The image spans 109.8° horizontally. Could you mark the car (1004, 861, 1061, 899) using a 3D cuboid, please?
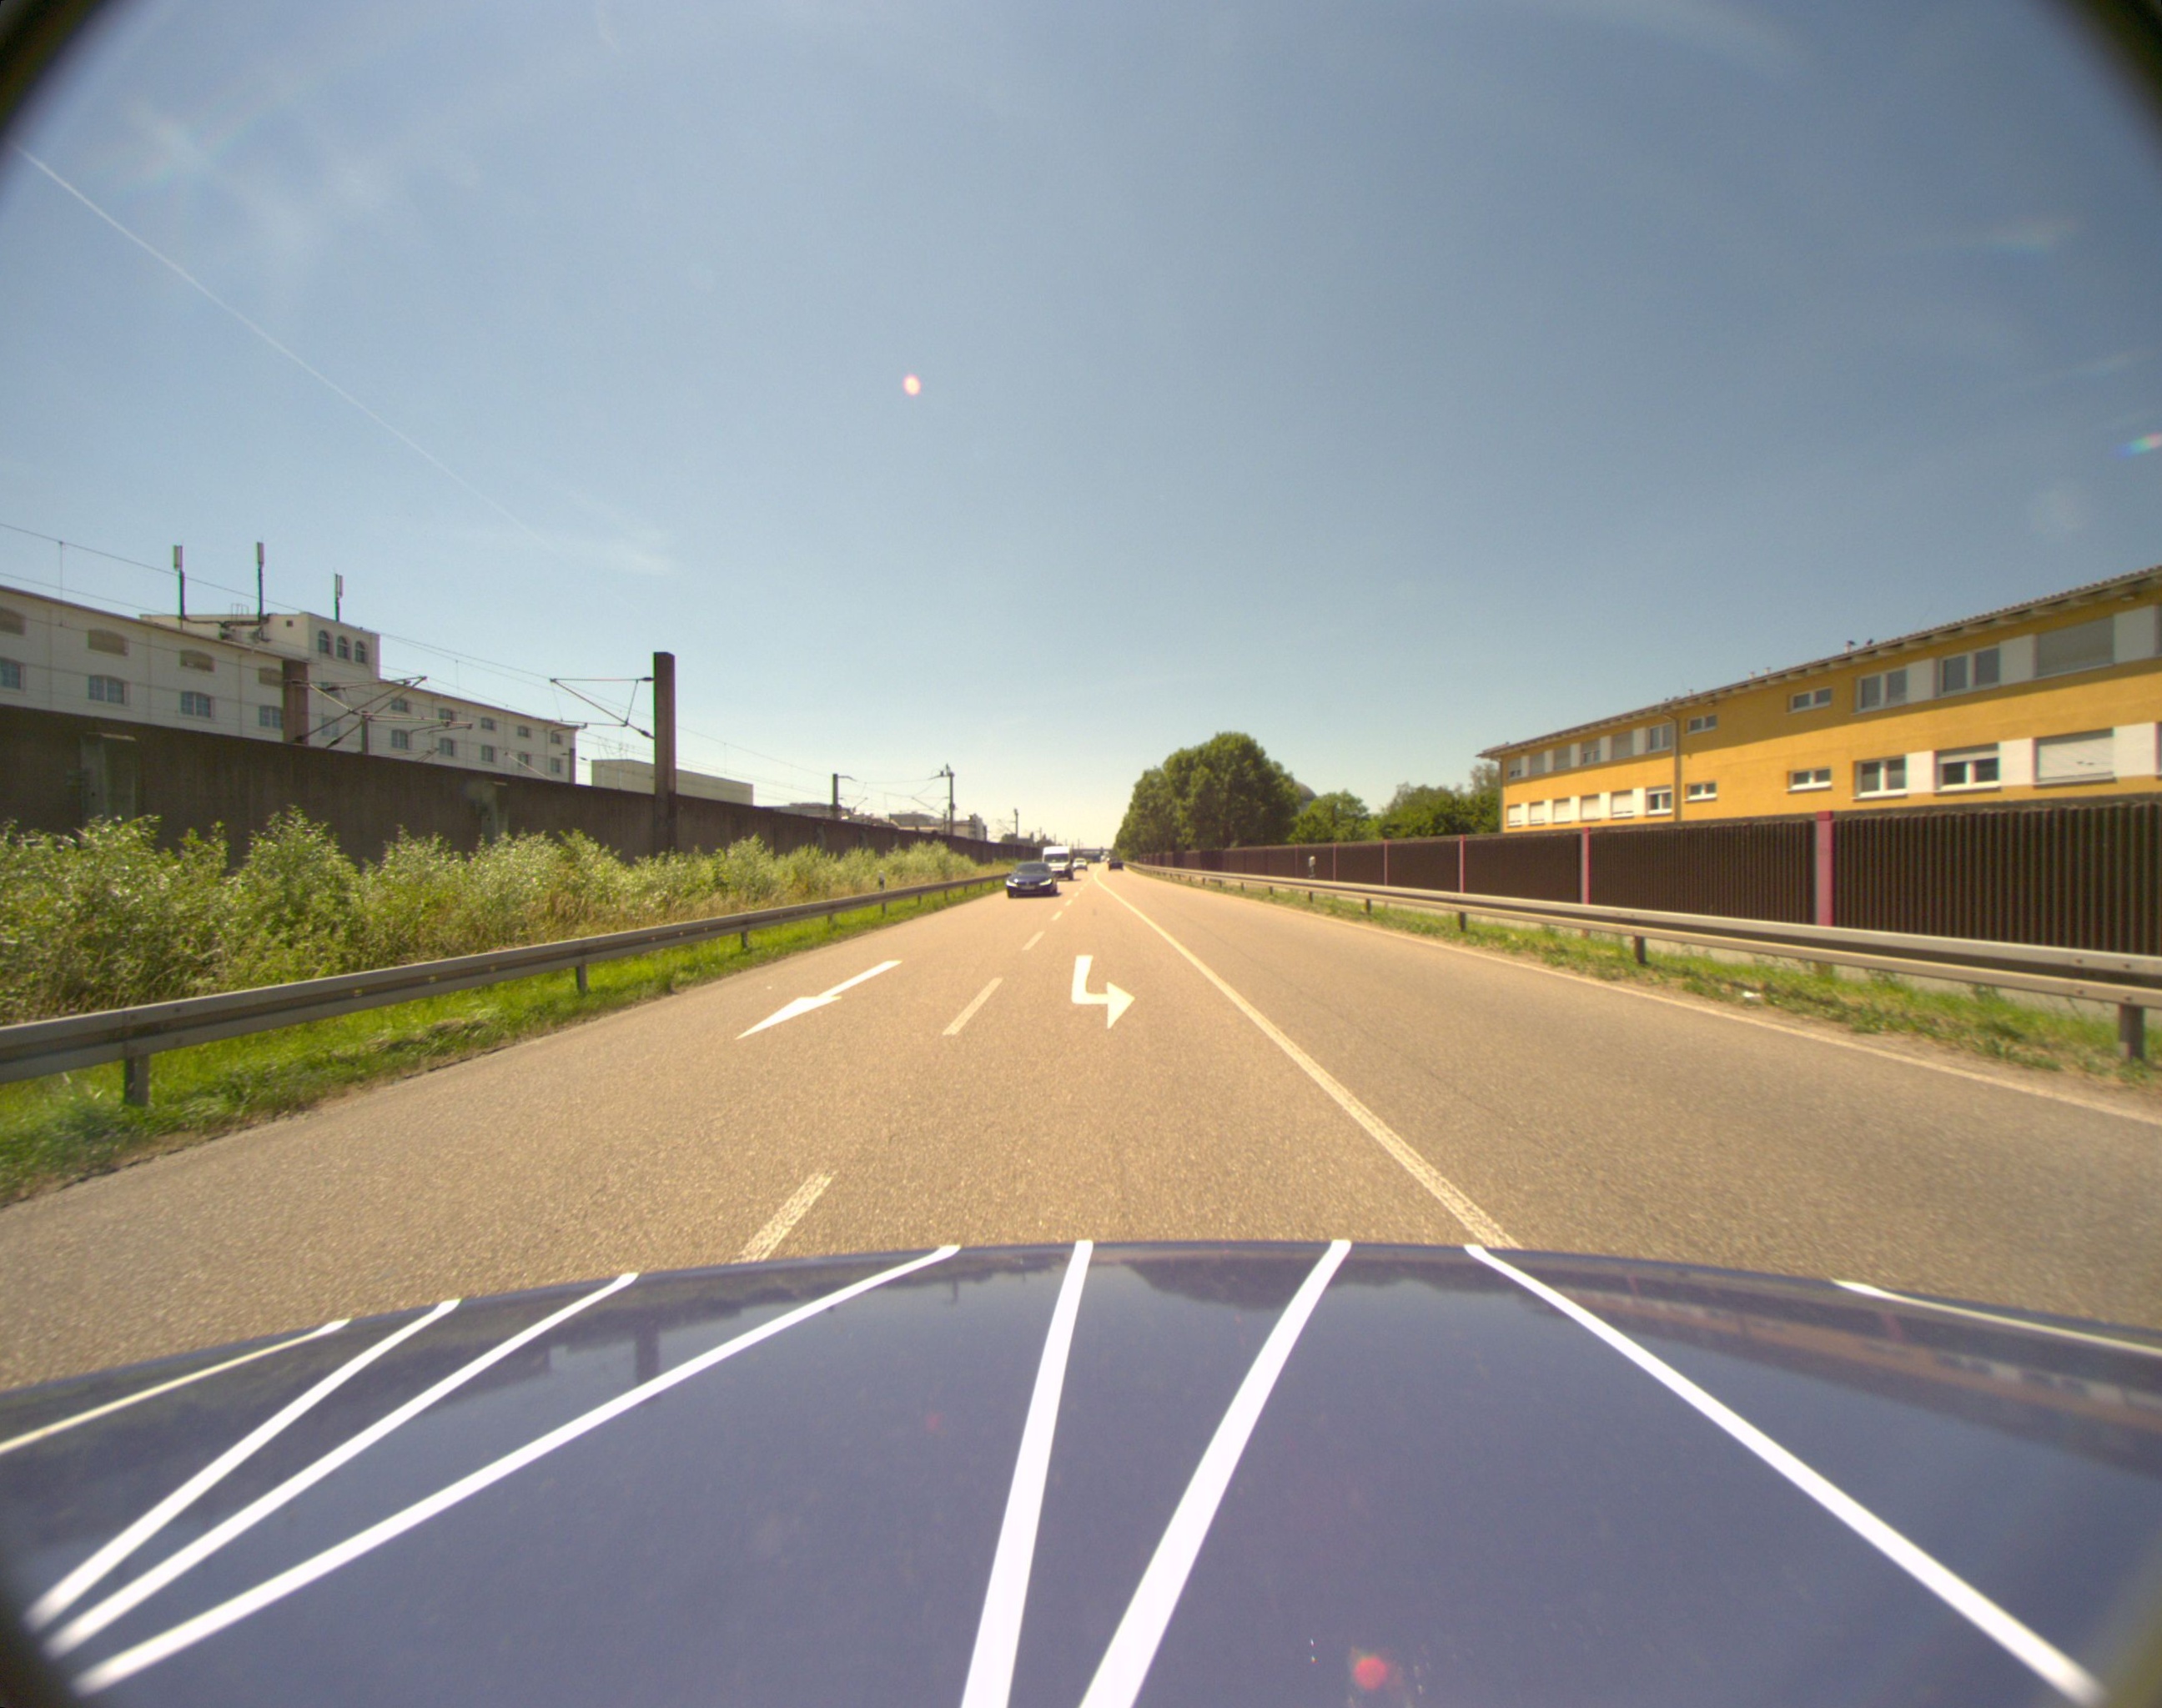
[{"bbox_3d":[-1.962,1.043,32.123,1.861,1.371,4.504,-2,0,2],"label":"car"}]

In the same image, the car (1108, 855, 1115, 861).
[{"bbox_3d":[8.370,1.051,206.469,1.757,1.499,4.529,-2,0,2],"label":"car"}]

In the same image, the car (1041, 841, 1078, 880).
[{"bbox_3d":[-1.455,0.431,55.443,2.193,2.588,6.751,-2,0,2],"label":"car"}]

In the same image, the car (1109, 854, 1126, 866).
[{"bbox_3d":[4.355,0.744,91.539,1.849,1.382,4.190,-2,0,2],"label":"car"}]

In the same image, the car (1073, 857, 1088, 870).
[{"bbox_3d":[-0.034,1.175,96.061,1.822,1.554,4.278,-2,0,0],"label":"car"}]

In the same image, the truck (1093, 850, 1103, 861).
[{"bbox_3d":[5.008,0.334,223.557,2.616,3.024,10.657,-1,0,3],"label":"truck"}]
